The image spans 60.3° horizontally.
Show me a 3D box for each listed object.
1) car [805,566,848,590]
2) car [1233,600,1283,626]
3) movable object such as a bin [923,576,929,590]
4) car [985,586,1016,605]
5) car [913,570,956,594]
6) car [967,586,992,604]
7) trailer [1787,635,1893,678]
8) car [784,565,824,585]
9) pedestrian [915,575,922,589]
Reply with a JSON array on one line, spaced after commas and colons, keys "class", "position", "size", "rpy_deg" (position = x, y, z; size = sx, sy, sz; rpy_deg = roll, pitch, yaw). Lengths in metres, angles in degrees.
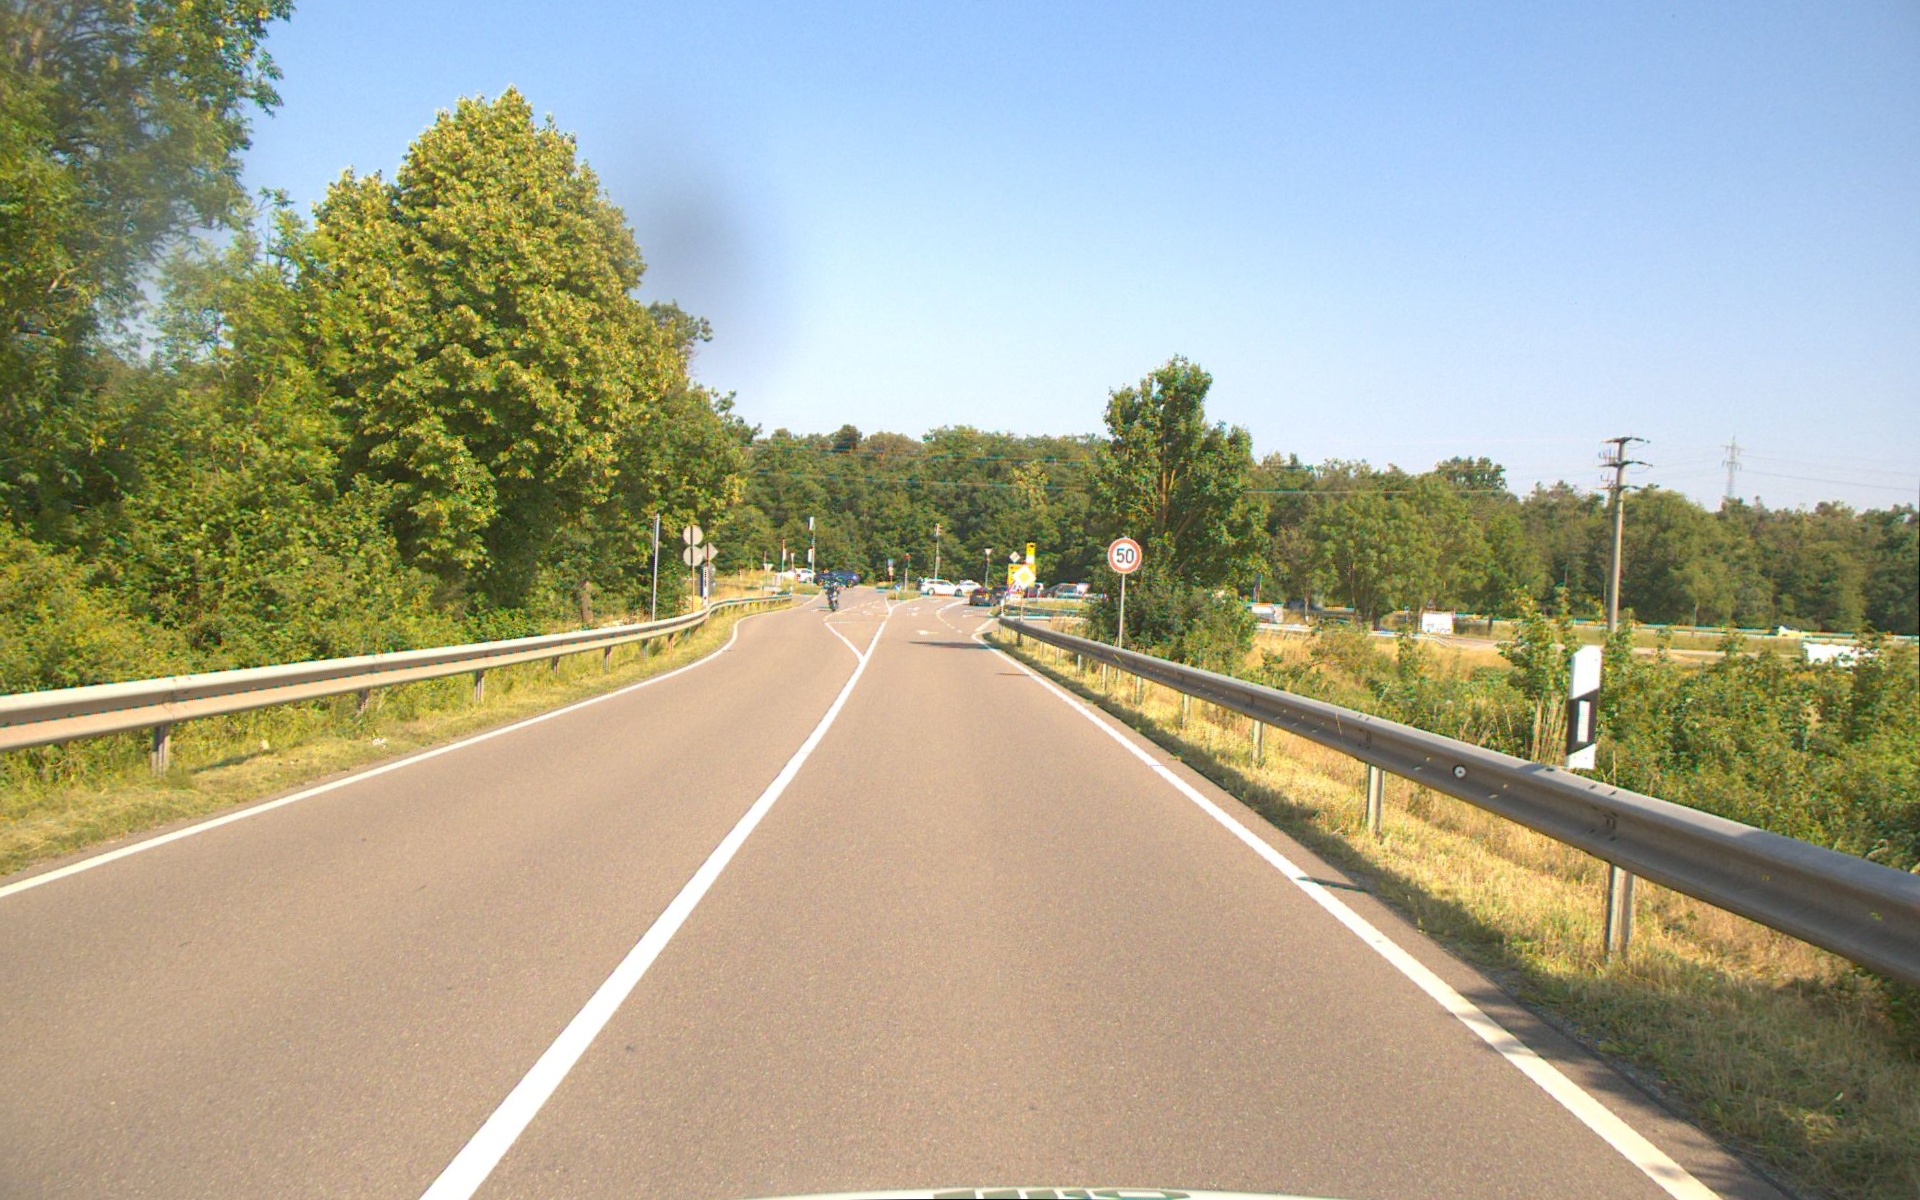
[{"class": "car", "position": [-12.727, -2.108, 157.839], "size": [3.914, 2.048, 1.797], "rpy_deg": [2, 1, -10]}, {"class": "car", "position": [26.739, 1.188, 148.435], "size": [3.926, 1.909, 1.882], "rpy_deg": [6, 1, 39]}, {"class": "movable object such as a bin", "position": [-3.587, -1.832, 175.340], "size": [0.589, 1.514, 0.732], "rpy_deg": [1, 0, 6]}, {"class": "car", "position": [3.561, -0.404, 144.360], "size": [1.761, 1.527, 4.003], "rpy_deg": [3, 1, 16]}, {"class": "car", "position": [-2.436, -1.742, 158.229], "size": [3.910, 2.048, 1.799], "rpy_deg": [2, 1, -6]}, {"class": "car", "position": [1.659, -0.435, 136.703], "size": [1.761, 1.422, 4.002], "rpy_deg": [-2, 0, 4]}, {"class": "trailer", "position": [68.653, 4.378, 129.199], "size": [6.641, 2.716, 2.896], "rpy_deg": [4, 1, 15]}, {"class": "car", "position": [-17.079, -2.716, 180.990], "size": [3.932, 2.049, 1.784], "rpy_deg": [0, 0, -23]}, {"class": "pedestrian", "position": [-4.343, -1.905, 174.591], "size": [0.513, 1.415, 0.513], "rpy_deg": [1, 0, 28]}]
